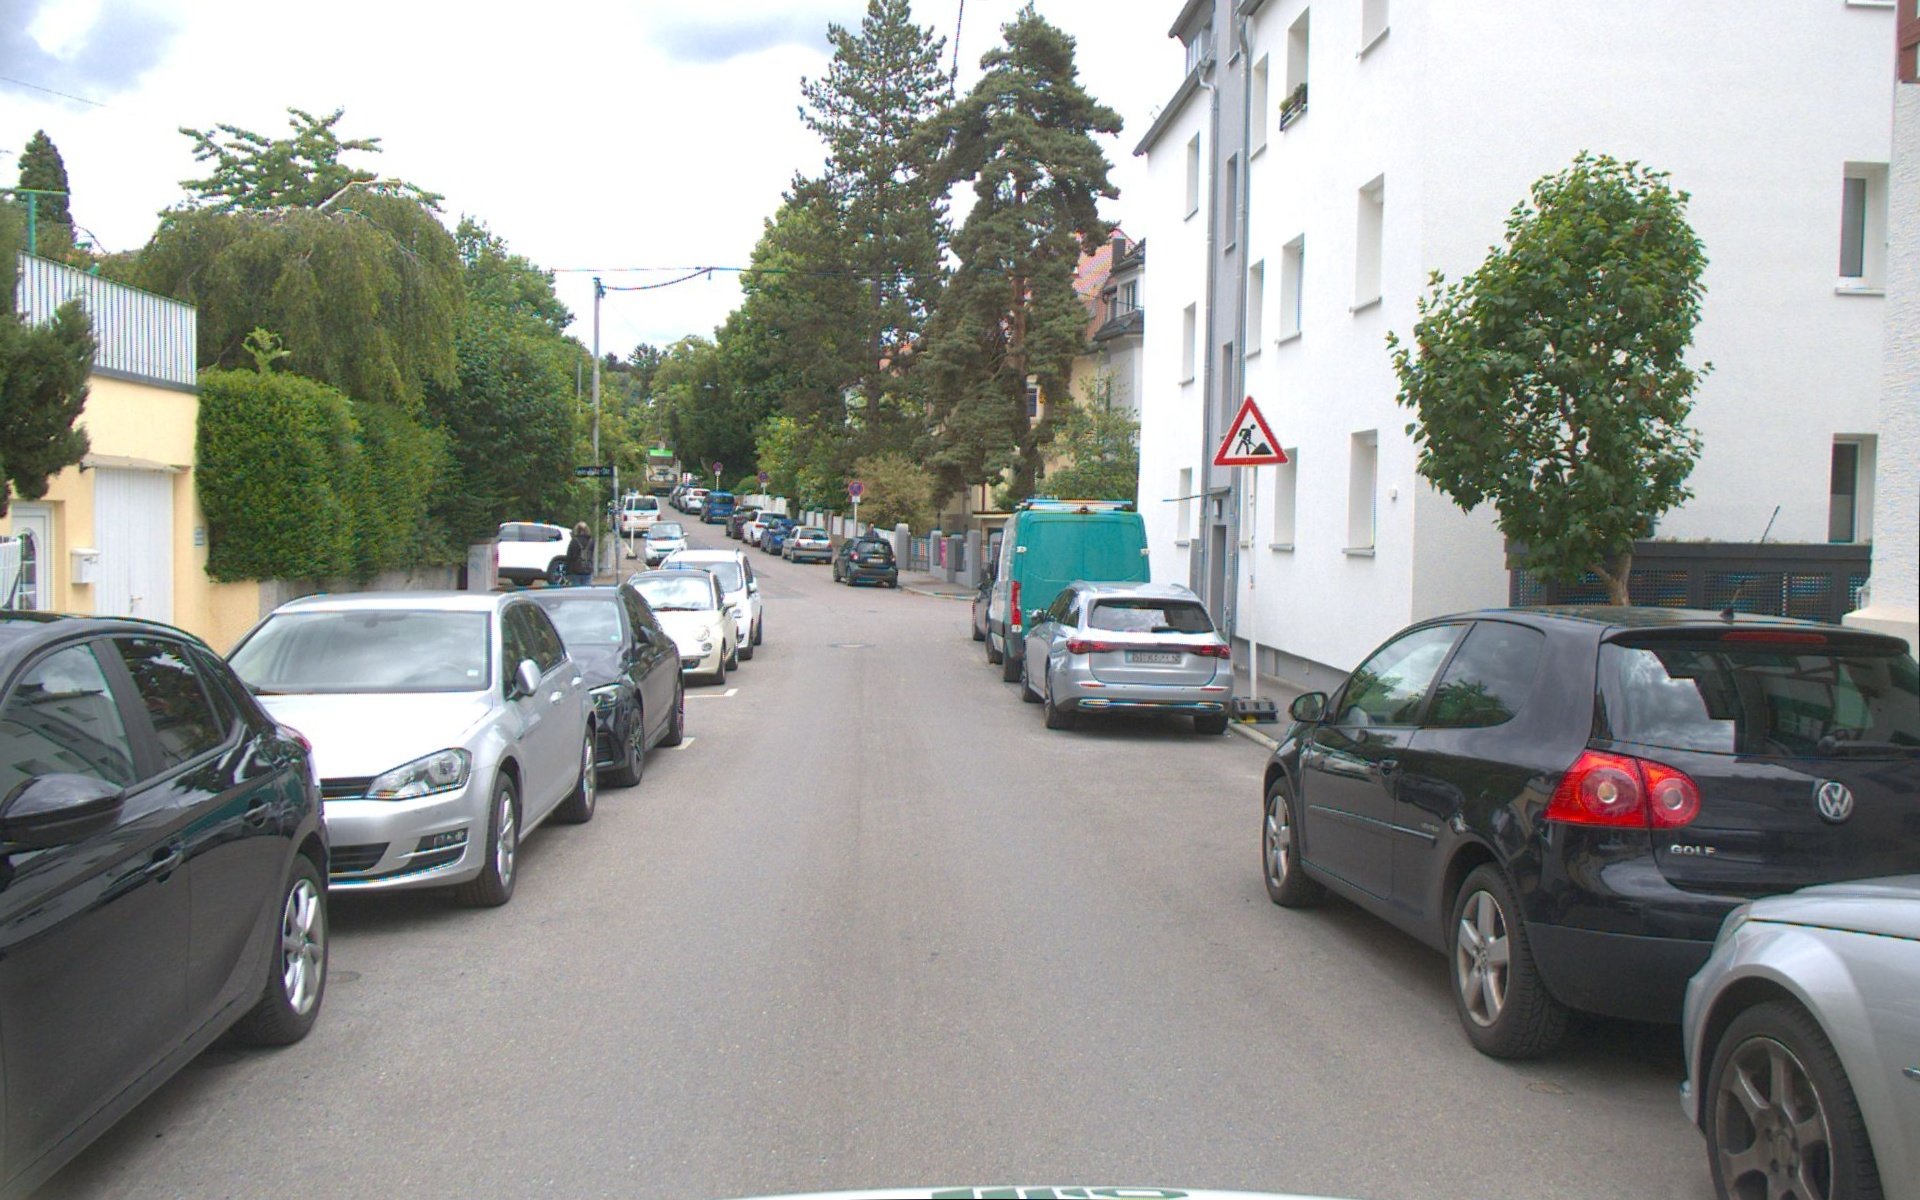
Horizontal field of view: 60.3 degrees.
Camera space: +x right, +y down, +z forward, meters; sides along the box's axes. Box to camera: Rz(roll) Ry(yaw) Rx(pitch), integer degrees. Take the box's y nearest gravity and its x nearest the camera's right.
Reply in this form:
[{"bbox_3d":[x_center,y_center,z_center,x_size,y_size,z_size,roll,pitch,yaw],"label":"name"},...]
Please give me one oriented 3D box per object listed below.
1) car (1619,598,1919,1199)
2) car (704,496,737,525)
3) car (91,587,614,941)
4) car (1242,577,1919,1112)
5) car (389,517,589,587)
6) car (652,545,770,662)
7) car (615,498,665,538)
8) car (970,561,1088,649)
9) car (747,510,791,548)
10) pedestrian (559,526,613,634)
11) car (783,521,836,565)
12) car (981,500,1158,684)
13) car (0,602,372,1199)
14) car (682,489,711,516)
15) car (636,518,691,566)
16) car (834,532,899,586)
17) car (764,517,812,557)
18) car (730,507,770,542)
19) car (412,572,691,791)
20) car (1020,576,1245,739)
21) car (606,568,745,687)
[{"bbox_3d":[2.810,0.779,2.200,1.783,1.467,4.447,2,0,-5],"label":"car"},{"bbox_3d":[-13.937,-5.203,95.980,1.606,1.563,3.521,2,4,-13],"label":"car"},{"bbox_3d":[-2.938,0.663,8.888,1.610,1.441,3.980,0,1,-5],"label":"car"},{"bbox_3d":[2.473,0.709,6.789,1.656,1.546,3.877,2,0,-5],"label":"car"},{"bbox_3d":[-12.238,-1.226,43.268,1.962,1.668,4.791,2,1,38],"label":"car"},{"bbox_3d":[-4.046,-0.004,27.332,1.639,1.685,3.861,0,3,-5],"label":"car"},{"bbox_3d":[-15.711,-4.048,80.963,1.874,1.909,4.574,-1,4,-18],"label":"car"},{"bbox_3d":[1.194,0.039,30.241,1.691,1.473,3.877,1,2,-5],"label":"car"},{"bbox_3d":[-8.803,-3.280,76.107,1.606,1.563,3.521,2,4,-13],"label":"car"},{"bbox_3d":[-6.993,-0.384,30.957,0.775,1.966,0.919,2,1,-1],"label":"pedestrian"},{"bbox_3d":[-5.998,-2.287,65.660,1.606,1.509,3.521,2,4,-13],"label":"car"},{"bbox_3d":[1.482,-0.159,24.040,1.941,2.403,4.274,1,1,-5],"label":"car"},{"bbox_3d":[-2.742,0.738,3.954,1.610,1.412,3.855,0,1,-6],"label":"car"},{"bbox_3d":[-16.892,-6.282,106.011,1.606,1.563,3.521,2,4,-13],"label":"car"},{"bbox_3d":[-11.279,-2.233,62.675,1.645,1.685,3.847,-1,4,-16],"label":"car"},{"bbox_3d":[-3.071,-1.354,54.007,1.605,1.509,3.522,2,4,-11],"label":"car"},{"bbox_3d":[-7.338,-2.688,70.430,1.606,1.509,3.521,2,4,-13],"label":"car"},{"bbox_3d":[-10.431,-3.773,82.022,1.606,1.563,3.521,2,4,-13],"label":"car"},{"bbox_3d":[-3.147,0.538,13.445,1.565,1.504,3.987,0,1,-5],"label":"car"},{"bbox_3d":[1.705,0.520,17.610,1.691,1.473,3.877,1,2,-5],"label":"car"},{"bbox_3d":[-3.870,0.317,22.953,1.565,1.437,3.660,0,2,-5],"label":"car"}]
